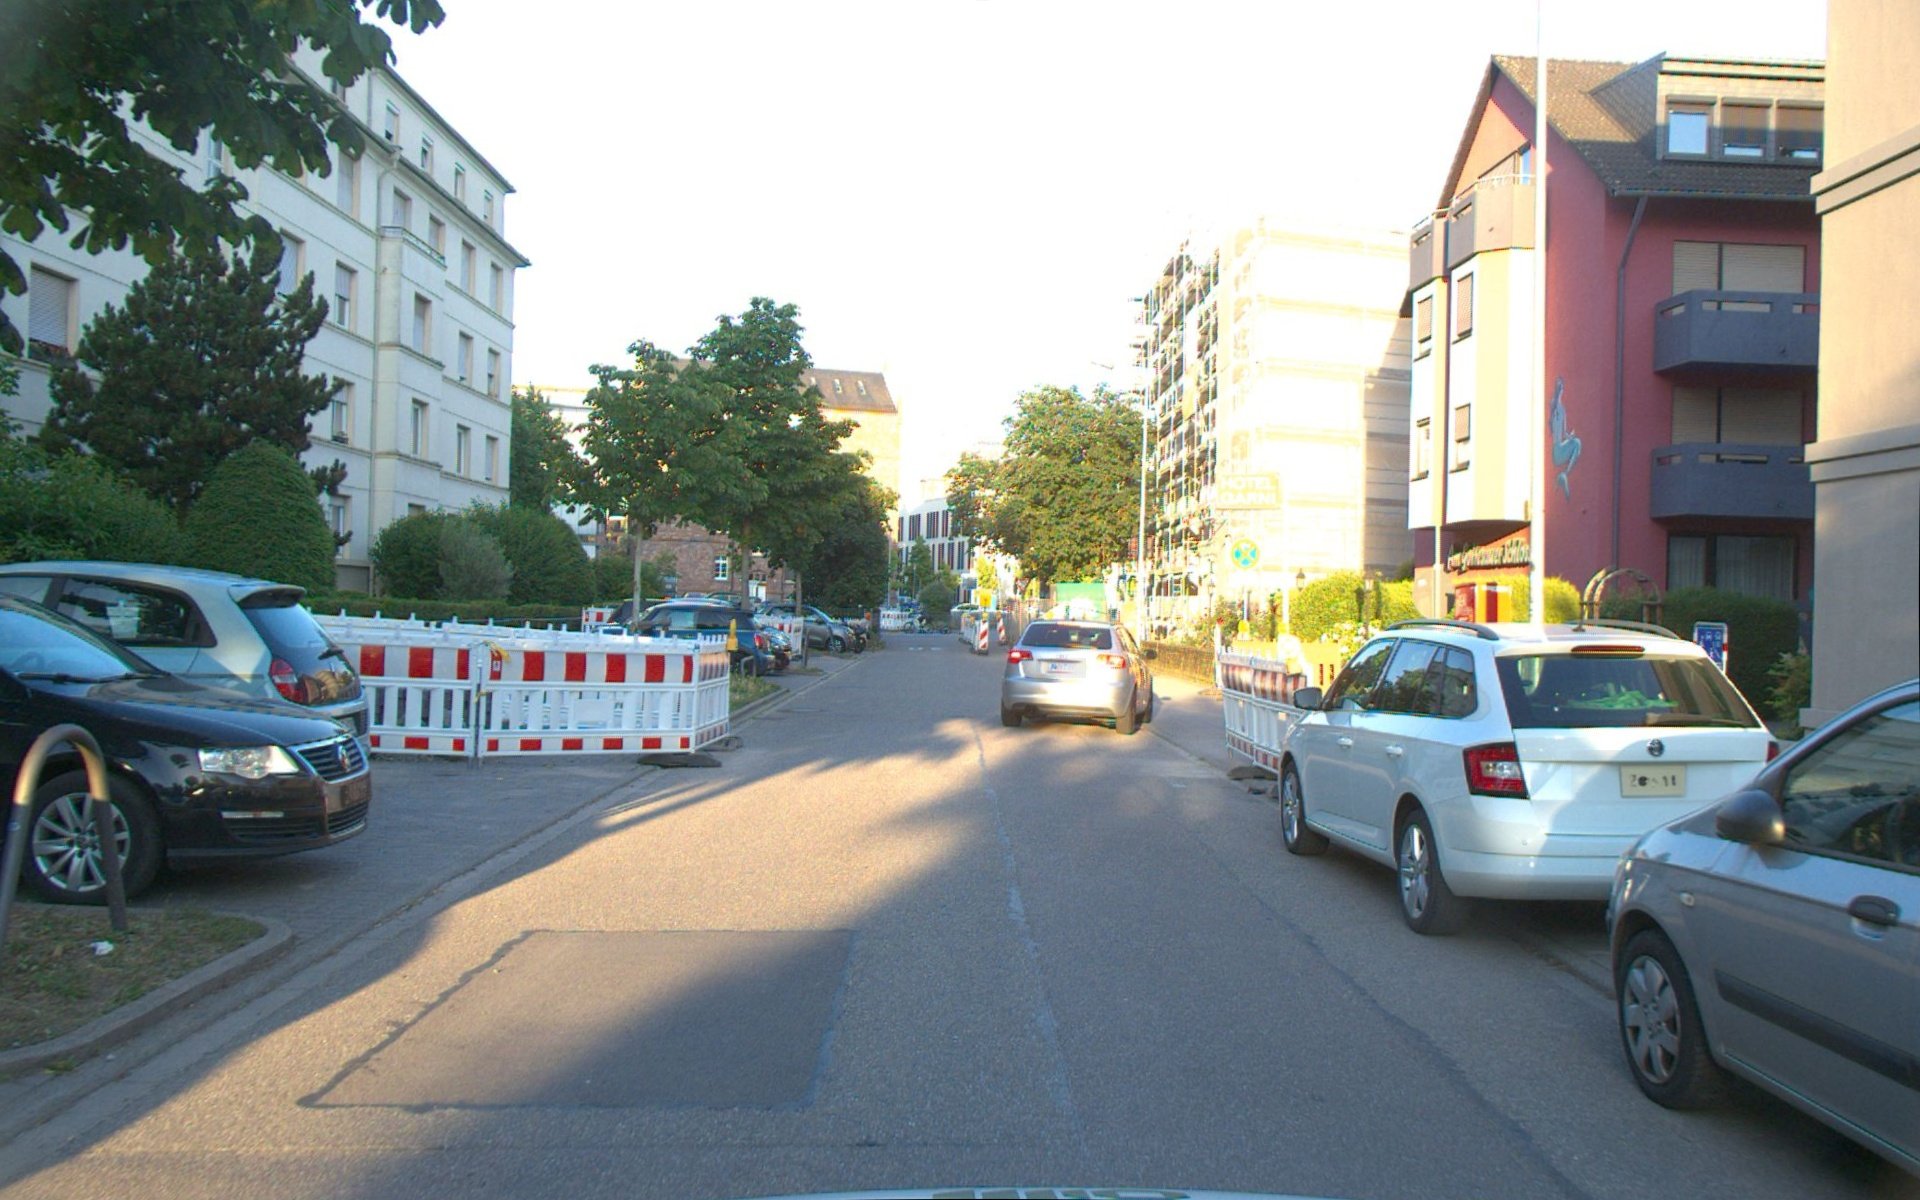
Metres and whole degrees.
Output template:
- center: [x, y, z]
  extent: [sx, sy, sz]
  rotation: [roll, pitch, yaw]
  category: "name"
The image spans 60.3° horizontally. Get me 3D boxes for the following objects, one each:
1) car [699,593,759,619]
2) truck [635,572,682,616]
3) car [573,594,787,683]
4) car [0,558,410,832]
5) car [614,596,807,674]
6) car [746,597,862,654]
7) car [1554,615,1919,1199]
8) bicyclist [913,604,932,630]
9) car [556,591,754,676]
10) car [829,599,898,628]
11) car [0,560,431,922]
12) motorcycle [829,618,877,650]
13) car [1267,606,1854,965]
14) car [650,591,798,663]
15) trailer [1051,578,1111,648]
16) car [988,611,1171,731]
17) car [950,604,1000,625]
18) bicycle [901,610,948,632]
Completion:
- center: [-14.576, 0.378, 104.372]
  extent: [3.574, 1.530, 1.629]
  rotation: [1, 0, -17]
  category: "car"
- center: [-19.108, -0.368, 104.534]
  extent: [2.297, 2.662, 4.949]
  rotation: [1, 0, -17]
  category: "truck"
- center: [-5.167, 0.718, 30.846]
  extent: [3.601, 1.470, 1.728]
  rotation: [2, -1, 1]
  category: "car"
- center: [-5.664, 0.511, 10.582]
  extent: [3.623, 1.510, 1.728]
  rotation: [3, 0, 1]
  category: "car"
- center: [-5.449, 0.779, 36.452]
  extent: [3.895, 1.515, 1.728]
  rotation: [3, -1, 1]
  category: "car"
- center: [-5.079, 0.835, 54.303]
  extent: [3.550, 1.584, 1.692]
  rotation: [4, -1, -1]
  category: "car"
- center: [3.139, 0.821, 4.215]
  extent: [1.761, 1.495, 3.842]
  rotation: [1, 0, -2]
  category: "car"
- center: [-2.199, 1.000, 96.551]
  extent: [1.041, 1.483, 0.790]
  rotation: [1, 0, -8]
  category: "bicyclist"
- center: [-6.114, 0.680, 33.444]
  extent: [3.601, 1.510, 1.728]
  rotation: [2, -1, 1]
  category: "car"
- center: [-6.247, 0.880, 107.026]
  extent: [4.205, 1.738, 1.693]
  rotation: [1, 0, -20]
  category: "car"
- center: [-5.138, 0.543, 8.161]
  extent: [4.414, 1.510, 1.728]
  rotation: [3, 0, 1]
  category: "car"
- center: [-3.719, 1.192, 57.843]
  extent: [0.527, 1.038, 2.208]
  rotation: [4, -1, 28]
  category: "motorcycle"
- center: [2.943, 0.803, 9.055]
  extent: [1.582, 1.495, 3.994]
  rotation: [1, 0, -3]
  category: "car"
- center: [-5.760, 0.670, 40.674]
  extent: [3.406, 1.593, 1.726]
  rotation: [3, -2, -4]
  category: "car"
- center: [4.650, 0.491, 64.080]
  extent: [1.953, 2.584, 4.186]
  rotation: [1, 0, 0]
  category: "trailer"
- center: [1.714, 0.882, 22.393]
  extent: [1.738, 1.421, 4.110]
  rotation: [1, 0, 14]
  category: "car"
- center: [1.245, 1.183, 134.527]
  extent: [3.688, 1.631, 1.676]
  rotation: [1, 0, -22]
  category: "car"
- center: [-2.063, 1.223, 96.579]
  extent: [2.673, 1.240, 0.709]
  rotation: [1, 0, -9]
  category: "bicycle"
